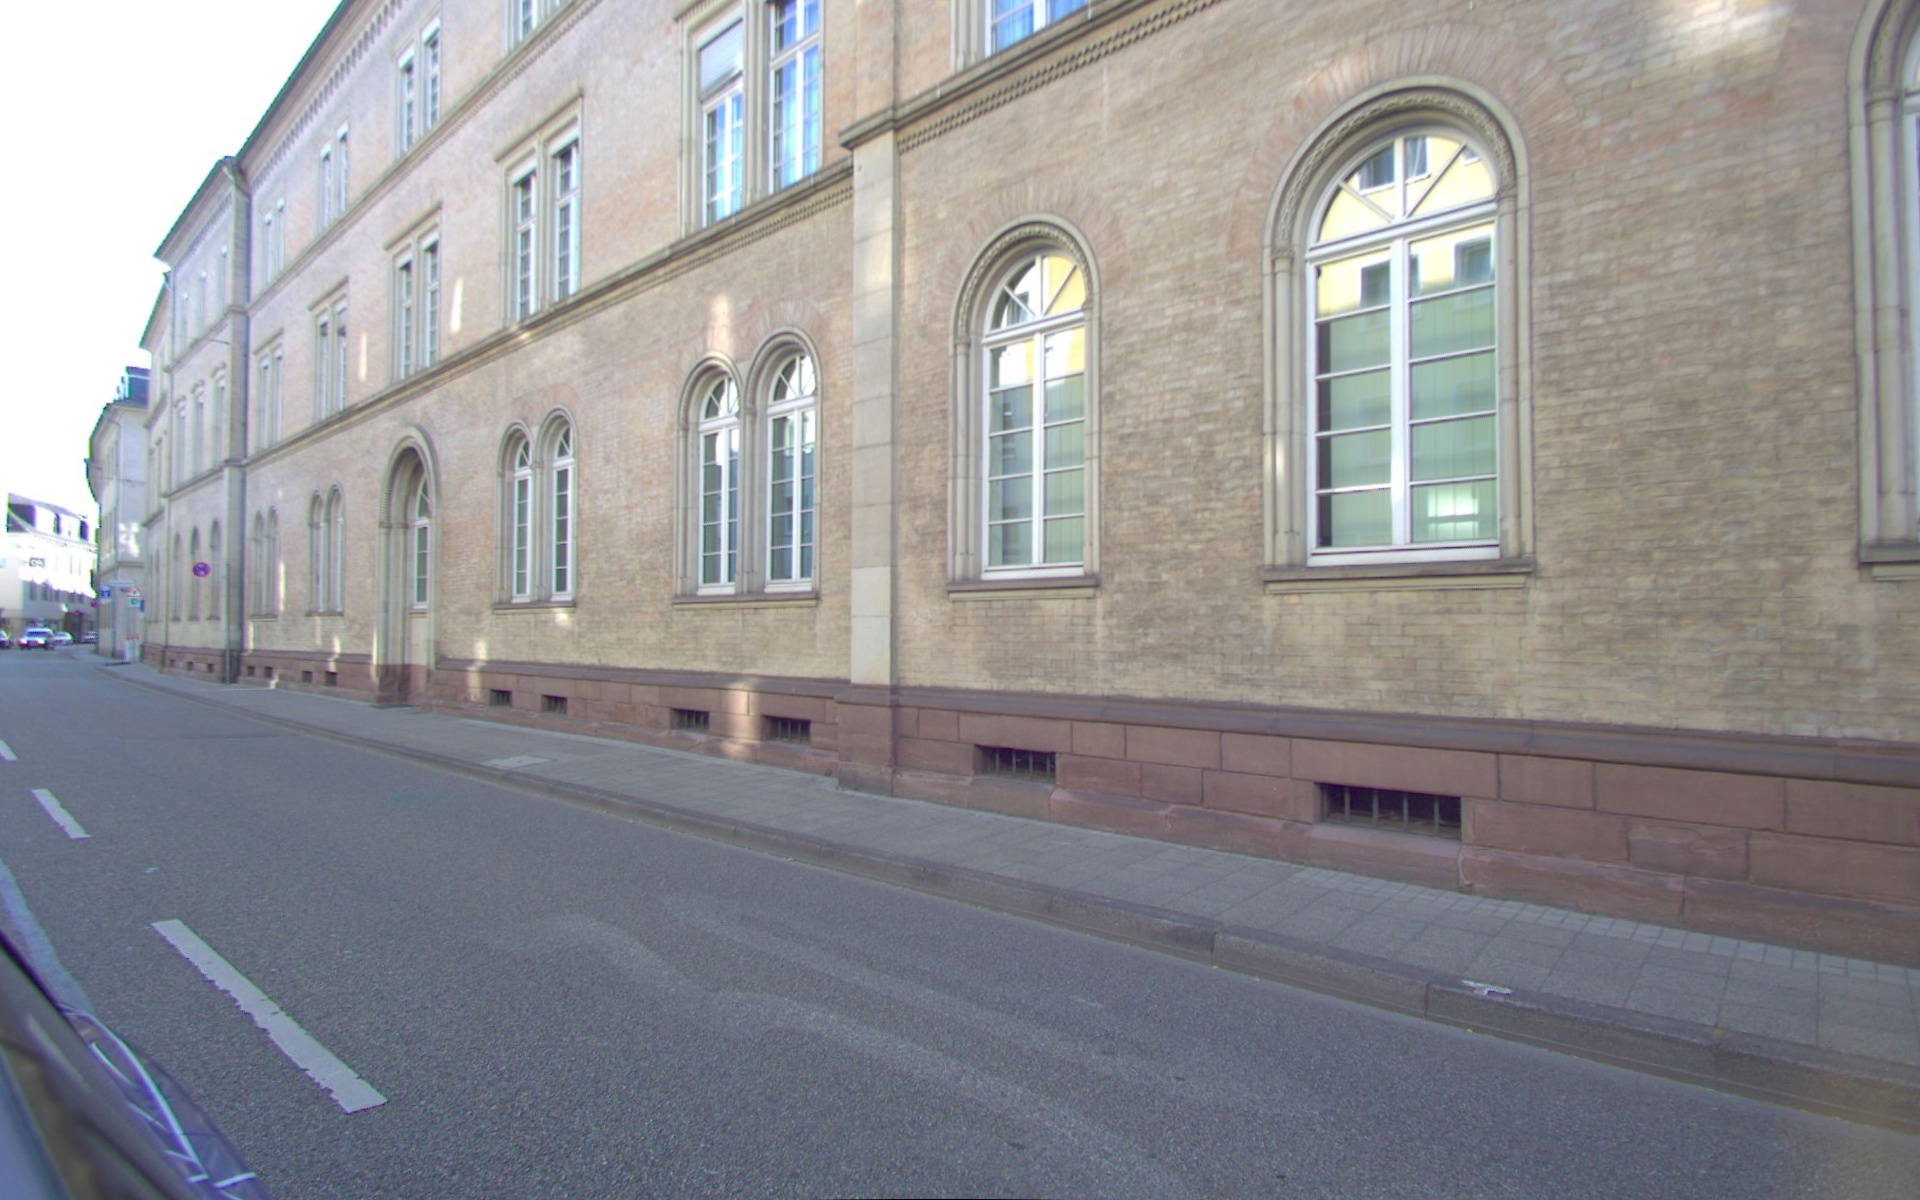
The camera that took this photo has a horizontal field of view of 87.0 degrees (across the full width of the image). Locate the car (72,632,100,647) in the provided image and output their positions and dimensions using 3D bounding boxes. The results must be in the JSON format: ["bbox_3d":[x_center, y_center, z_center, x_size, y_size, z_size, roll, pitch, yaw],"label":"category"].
[{"bbox_3d":[-109.290,4.936,126.561,1.896,1.737,4.242,1,-2,-31],"label":"car"}]

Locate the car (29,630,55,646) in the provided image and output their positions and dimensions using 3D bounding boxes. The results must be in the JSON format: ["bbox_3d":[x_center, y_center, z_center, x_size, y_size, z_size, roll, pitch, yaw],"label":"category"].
[{"bbox_3d":[-102.417,4.255,112.935,1.511,1.737,3.749,1,-2,-34],"label":"car"}]

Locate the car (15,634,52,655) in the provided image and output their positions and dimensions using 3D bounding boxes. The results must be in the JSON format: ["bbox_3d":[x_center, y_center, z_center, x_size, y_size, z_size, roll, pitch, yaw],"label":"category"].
[{"bbox_3d":[-77.414,3.715,84.627,1.893,1.735,4.970,1,-2,-38],"label":"car"}]

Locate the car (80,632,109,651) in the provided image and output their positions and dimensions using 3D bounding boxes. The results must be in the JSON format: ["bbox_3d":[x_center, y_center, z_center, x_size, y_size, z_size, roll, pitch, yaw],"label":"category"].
[{"bbox_3d":[-80.262,3.804,93.889,1.638,1.737,3.748,1,-2,-36],"label":"car"}]
